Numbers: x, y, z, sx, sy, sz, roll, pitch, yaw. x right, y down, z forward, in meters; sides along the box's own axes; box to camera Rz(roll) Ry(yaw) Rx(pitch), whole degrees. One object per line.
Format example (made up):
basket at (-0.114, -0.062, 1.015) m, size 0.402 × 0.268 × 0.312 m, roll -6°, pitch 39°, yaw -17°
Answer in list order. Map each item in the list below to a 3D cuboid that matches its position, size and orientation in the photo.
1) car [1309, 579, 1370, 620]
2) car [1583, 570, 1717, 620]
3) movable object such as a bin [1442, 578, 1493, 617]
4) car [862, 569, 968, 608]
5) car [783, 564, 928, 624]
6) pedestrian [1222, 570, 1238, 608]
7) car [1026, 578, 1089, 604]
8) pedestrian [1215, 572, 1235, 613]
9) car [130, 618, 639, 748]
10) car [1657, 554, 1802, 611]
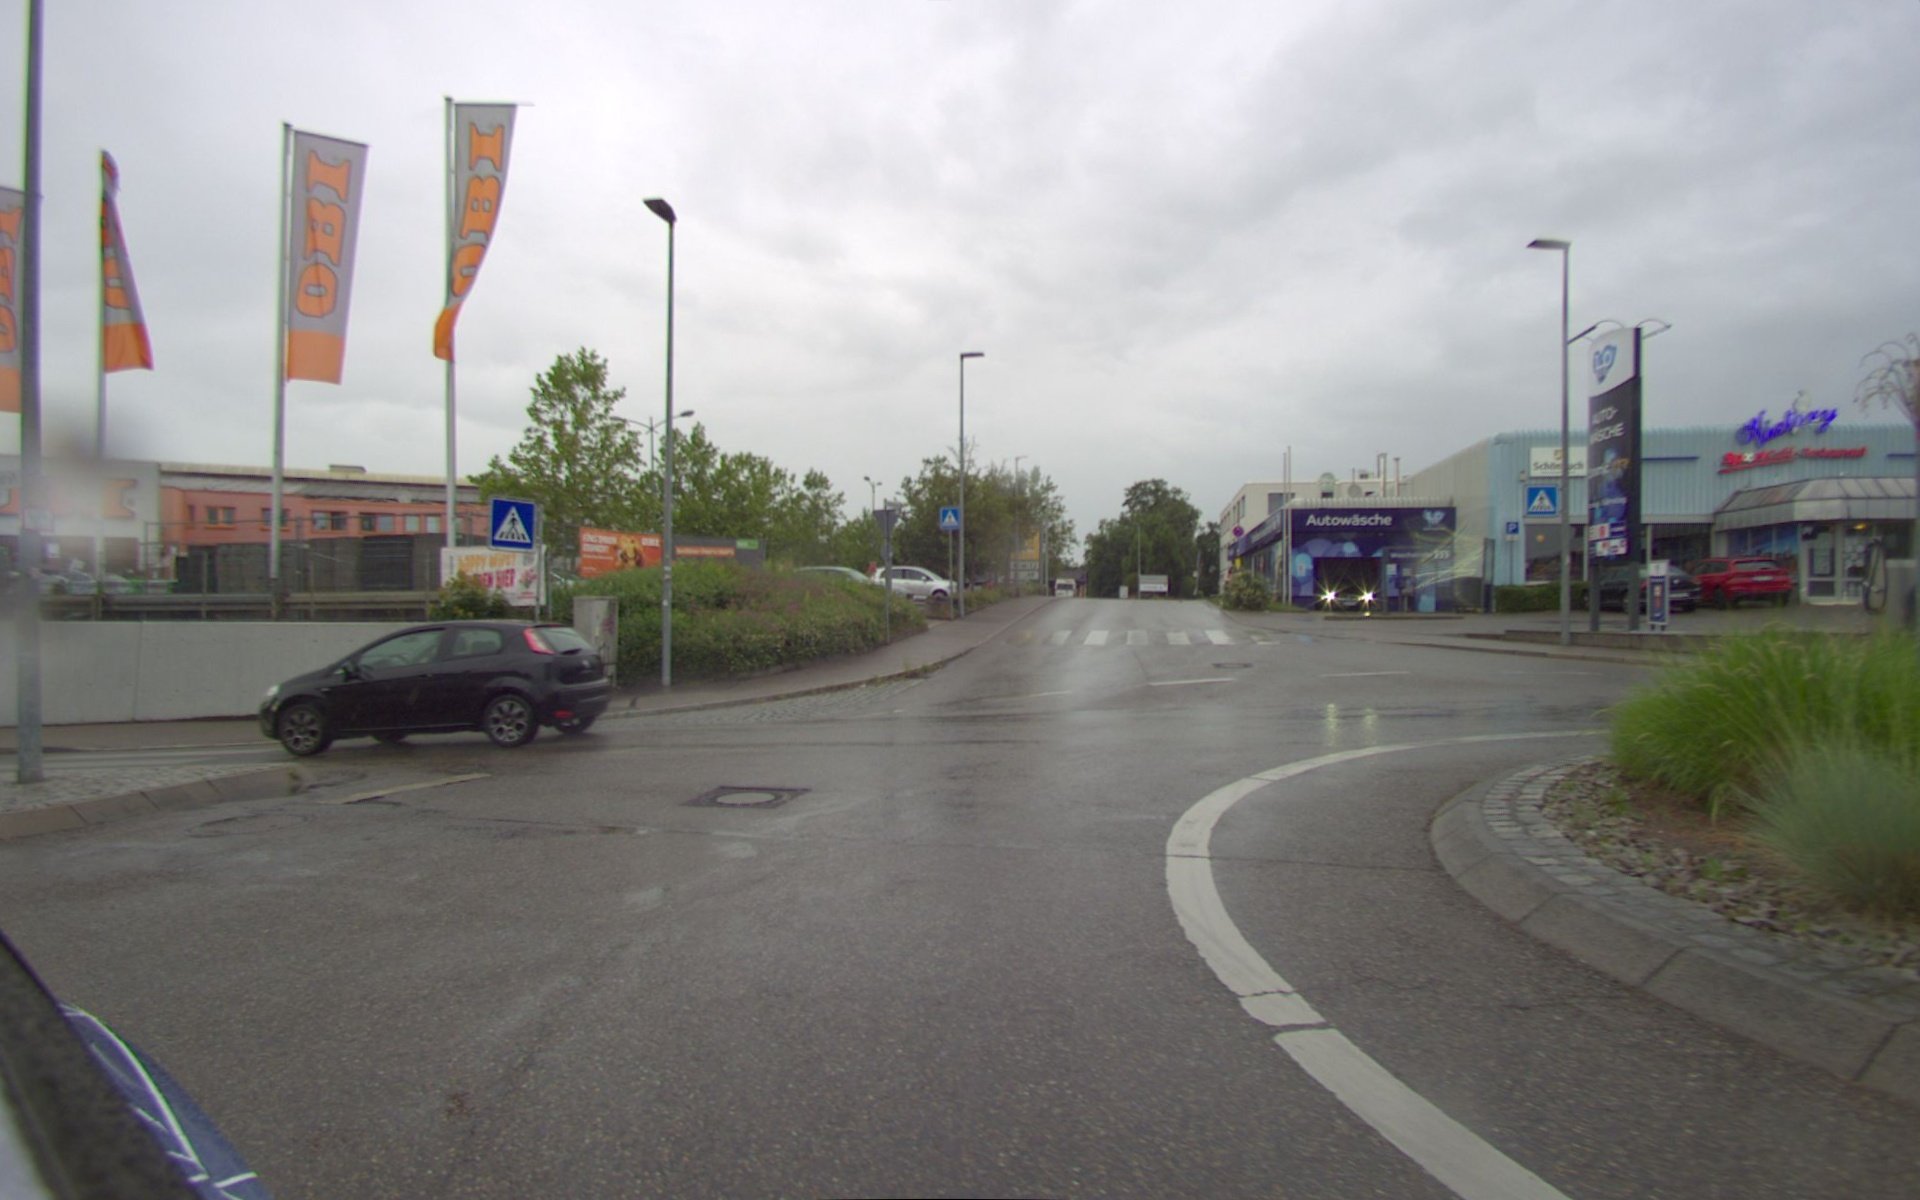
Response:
car at (15.963, -0.004, 42.743) m, size 1.903 × 1.541 × 3.982 m, roll -3°, pitch -1°, yaw 14°
car at (20.877, -0.137, 30.818) m, size 1.868 × 1.305 × 3.985 m, roll -4°, pitch -1°, yaw 11°
movable object such as a bin at (18.235, -0.093, 36.425) m, size 1.202 × 1.305 × 1.473 m, roll -4°, pitch -1°, yaw 12°
car at (-1.820, -0.459, 41.519) m, size 3.959 × 1.453 × 1.992 m, roll -1°, pitch -1°, yaw 13°
car at (-3.221, -0.142, 31.544) m, size 4.068 × 1.719 × 1.990 m, roll -1°, pitch -1°, yaw 16°
pedestrian at (10.698, -0.450, 40.085) m, size 0.462 × 1.475 × 0.546 m, roll -3°, pitch 1°, yaw 11°
car at (6.496, -0.587, 67.390) m, size 3.959 × 1.608 × 1.992 m, roll -1°, pitch -1°, yaw 13°
pedestrian at (10.292, -0.284, 39.332) m, size 0.598 × 1.542 × 0.772 m, roll -3°, pitch 1°, yaw 11°
car at (-6.871, 0.975, 12.369) m, size 5.279 × 1.393 × 1.996 m, roll -1°, pitch -1°, yaw 7°
car at (23.299, -0.489, 30.861) m, size 1.868 × 1.497 × 3.985 m, roll -4°, pitch -1°, yaw 11°
